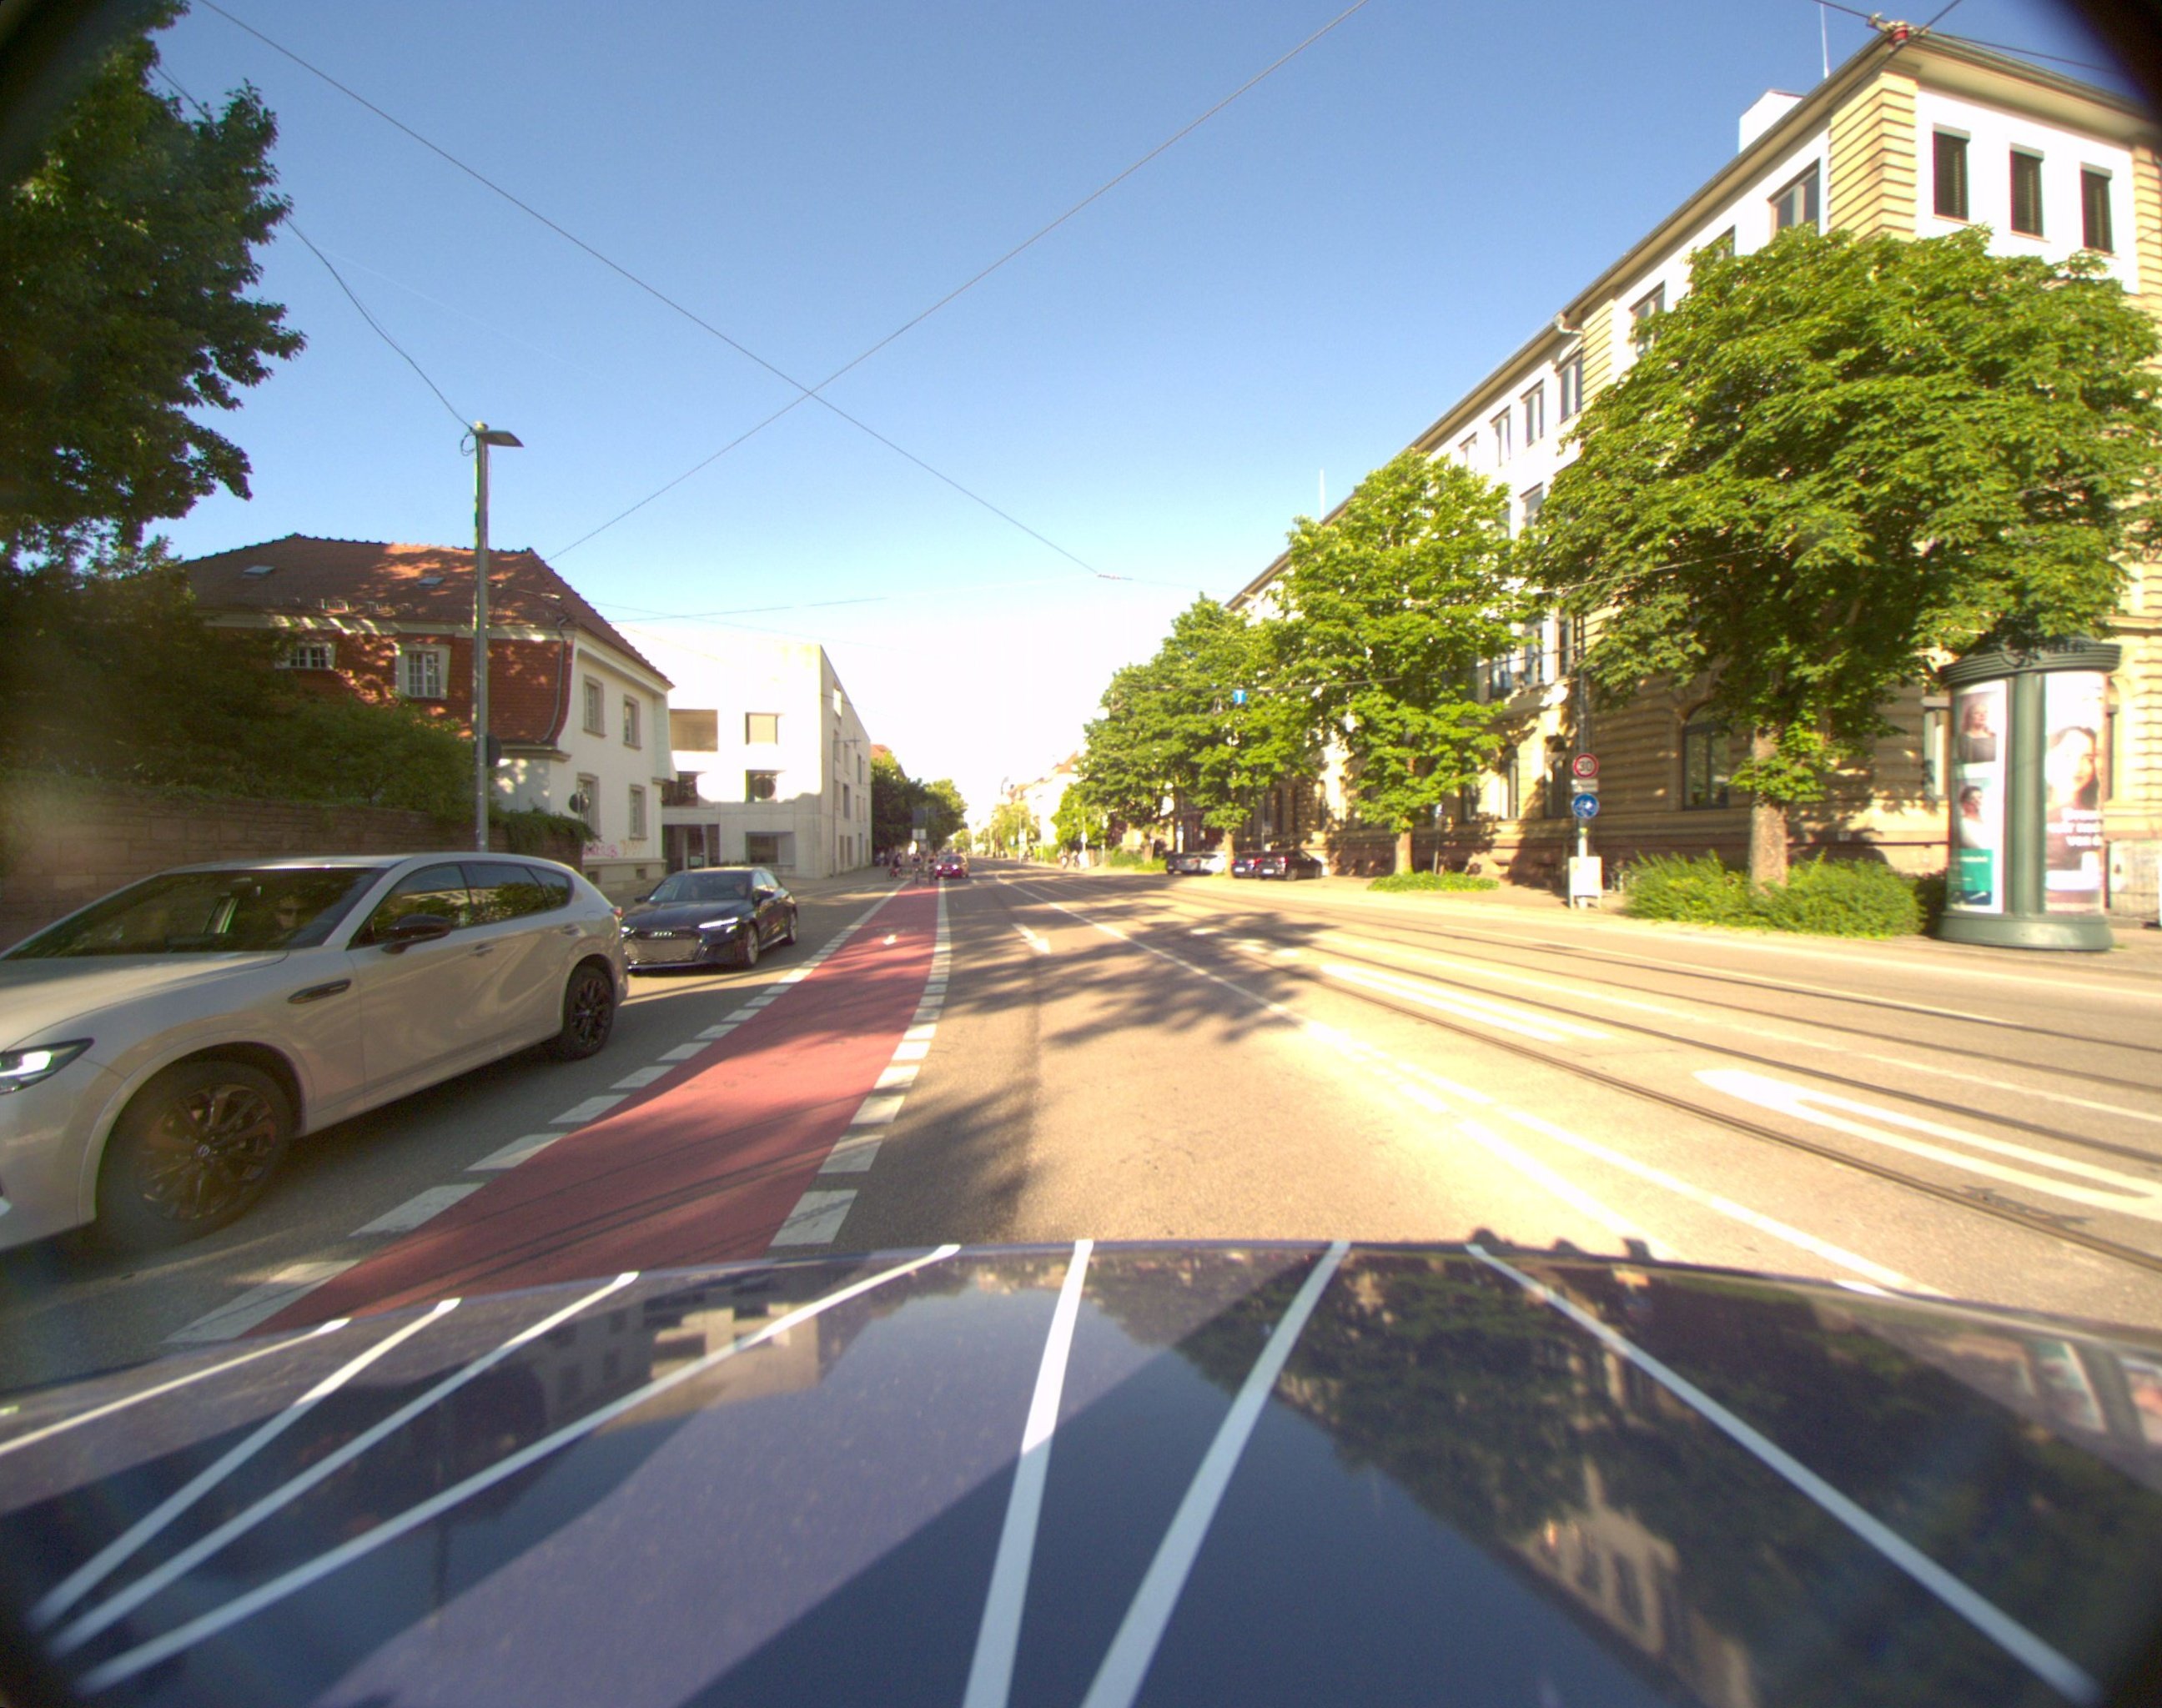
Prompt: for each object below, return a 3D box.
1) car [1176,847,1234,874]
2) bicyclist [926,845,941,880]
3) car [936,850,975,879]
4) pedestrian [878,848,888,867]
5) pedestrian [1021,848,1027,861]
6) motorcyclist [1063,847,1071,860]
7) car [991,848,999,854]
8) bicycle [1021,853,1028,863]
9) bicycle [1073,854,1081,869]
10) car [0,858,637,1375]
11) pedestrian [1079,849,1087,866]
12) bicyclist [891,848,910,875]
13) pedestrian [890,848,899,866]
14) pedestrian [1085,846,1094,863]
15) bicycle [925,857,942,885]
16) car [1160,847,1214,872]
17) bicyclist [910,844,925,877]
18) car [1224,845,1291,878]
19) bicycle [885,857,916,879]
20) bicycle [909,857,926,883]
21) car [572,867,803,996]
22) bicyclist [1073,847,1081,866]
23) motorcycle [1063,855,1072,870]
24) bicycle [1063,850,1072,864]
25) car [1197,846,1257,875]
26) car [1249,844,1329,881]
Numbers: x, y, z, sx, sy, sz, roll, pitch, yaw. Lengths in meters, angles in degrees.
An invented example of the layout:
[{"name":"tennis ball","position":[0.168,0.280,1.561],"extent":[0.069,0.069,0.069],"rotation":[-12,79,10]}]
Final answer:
[{"name":"car","position":[7.912,0.383,48.359],"extent":[3.657,1.552,1.645],"rotation":[-3,1,-43]},{"name":"bicyclist","position":[-7.067,0.402,36.402],"extent":[0.676,1.638,1.028],"rotation":[0,1,-8]},{"name":"car","position":[-7.505,0.591,45.724],"extent":[1.649,1.552,3.650],"rotation":[-2,1,1]},{"name":"pedestrian","position":[-17.594,0.293,67.546],"extent":[0.676,1.638,0.817],"rotation":[-1,1,-9]},{"name":"pedestrian","position":[-7.367,0.068,98.454],"extent":[0.675,1.638,0.817],"rotation":[-1,1,0]},{"name":"motorcyclist","position":[-1.268,-0.030,70.326],"extent":[0.676,1.243,0.853],"rotation":[0,1,-5]},{"name":"car","position":[-23.461,-0.894,206.489],"extent":[1.650,1.552,3.646],"rotation":[-2,1,-12]},{"name":"bicycle","position":[-7.355,0.467,98.446],"extent":[0.676,1.243,2.456],"rotation":[-1,1,1]},{"name":"bicycle","position":[-0.361,0.670,67.791],"extent":[0.676,1.243,2.456],"rotation":[0,1,1]},{"name":"car","position":[-4.806,0.935,4.472],"extent":[1.946,1.682,4.529],"rotation":[-2,1,-5]},{"name":"pedestrian","position":[0.179,0.352,74.931],"extent":[0.676,1.638,0.817],"rotation":[-1,1,-9]},{"name":"bicyclist","position":[-11.090,0.426,46.646],"extent":[0.674,1.638,1.030],"rotation":[0,1,17]},{"name":"pedestrian","position":[-16.606,0.254,67.705],"extent":[0.676,1.638,0.817],"rotation":[-1,1,-9]},{"name":"pedestrian","position":[0.839,0.022,75.662],"extent":[0.676,1.638,0.817],"rotation":[-1,1,-9]},{"name":"bicycle","position":[-7.065,0.785,36.401],"extent":[0.676,1.243,2.454],"rotation":[0,1,-8]},{"name":"car","position":[7.236,0.354,51.769],"extent":[3.657,1.552,1.645],"rotation":[-3,1,-43]},{"name":"bicyclist","position":[-8.219,0.331,38.158],"extent":[0.676,1.638,1.028],"rotation":[0,1,-8]},{"name":"car","position":[9.420,0.384,40.412],"extent":[3.657,1.552,1.645],"rotation":[-3,1,-43]},{"name":"bicycle","position":[-11.079,0.848,46.685],"extent":[0.675,1.243,2.460],"rotation":[0,1,17]},{"name":"bicycle","position":[-8.225,0.786,38.215],"extent":[0.676,1.243,2.454],"rotation":[0,1,-8]},{"name":"car","position":[-5.620,0.995,11.479],"extent":[1.789,1.425,3.997],"rotation":[-2,1,-8]},{"name":"bicyclist","position":[-0.363,0.237,67.635],"extent":[0.675,1.638,1.029],"rotation":[0,1,0]},{"name":"motorcycle","position":[-1.243,0.771,70.006],"extent":[0.680,1.285,2.265],"rotation":[-2,1,1]},{"name":"bicycle","position":[-1.262,0.265,70.238],"extent":[0.676,1.243,2.455],"rotation":[0,1,-5]},{"name":"car","position":[8.891,0.383,46.128],"extent":[3.657,1.552,1.645],"rotation":[-3,1,-43]},{"name":"car","position":[10.383,0.401,37.752],"extent":[4.189,1.621,1.841],"rotation":[-3,1,-43]}]
